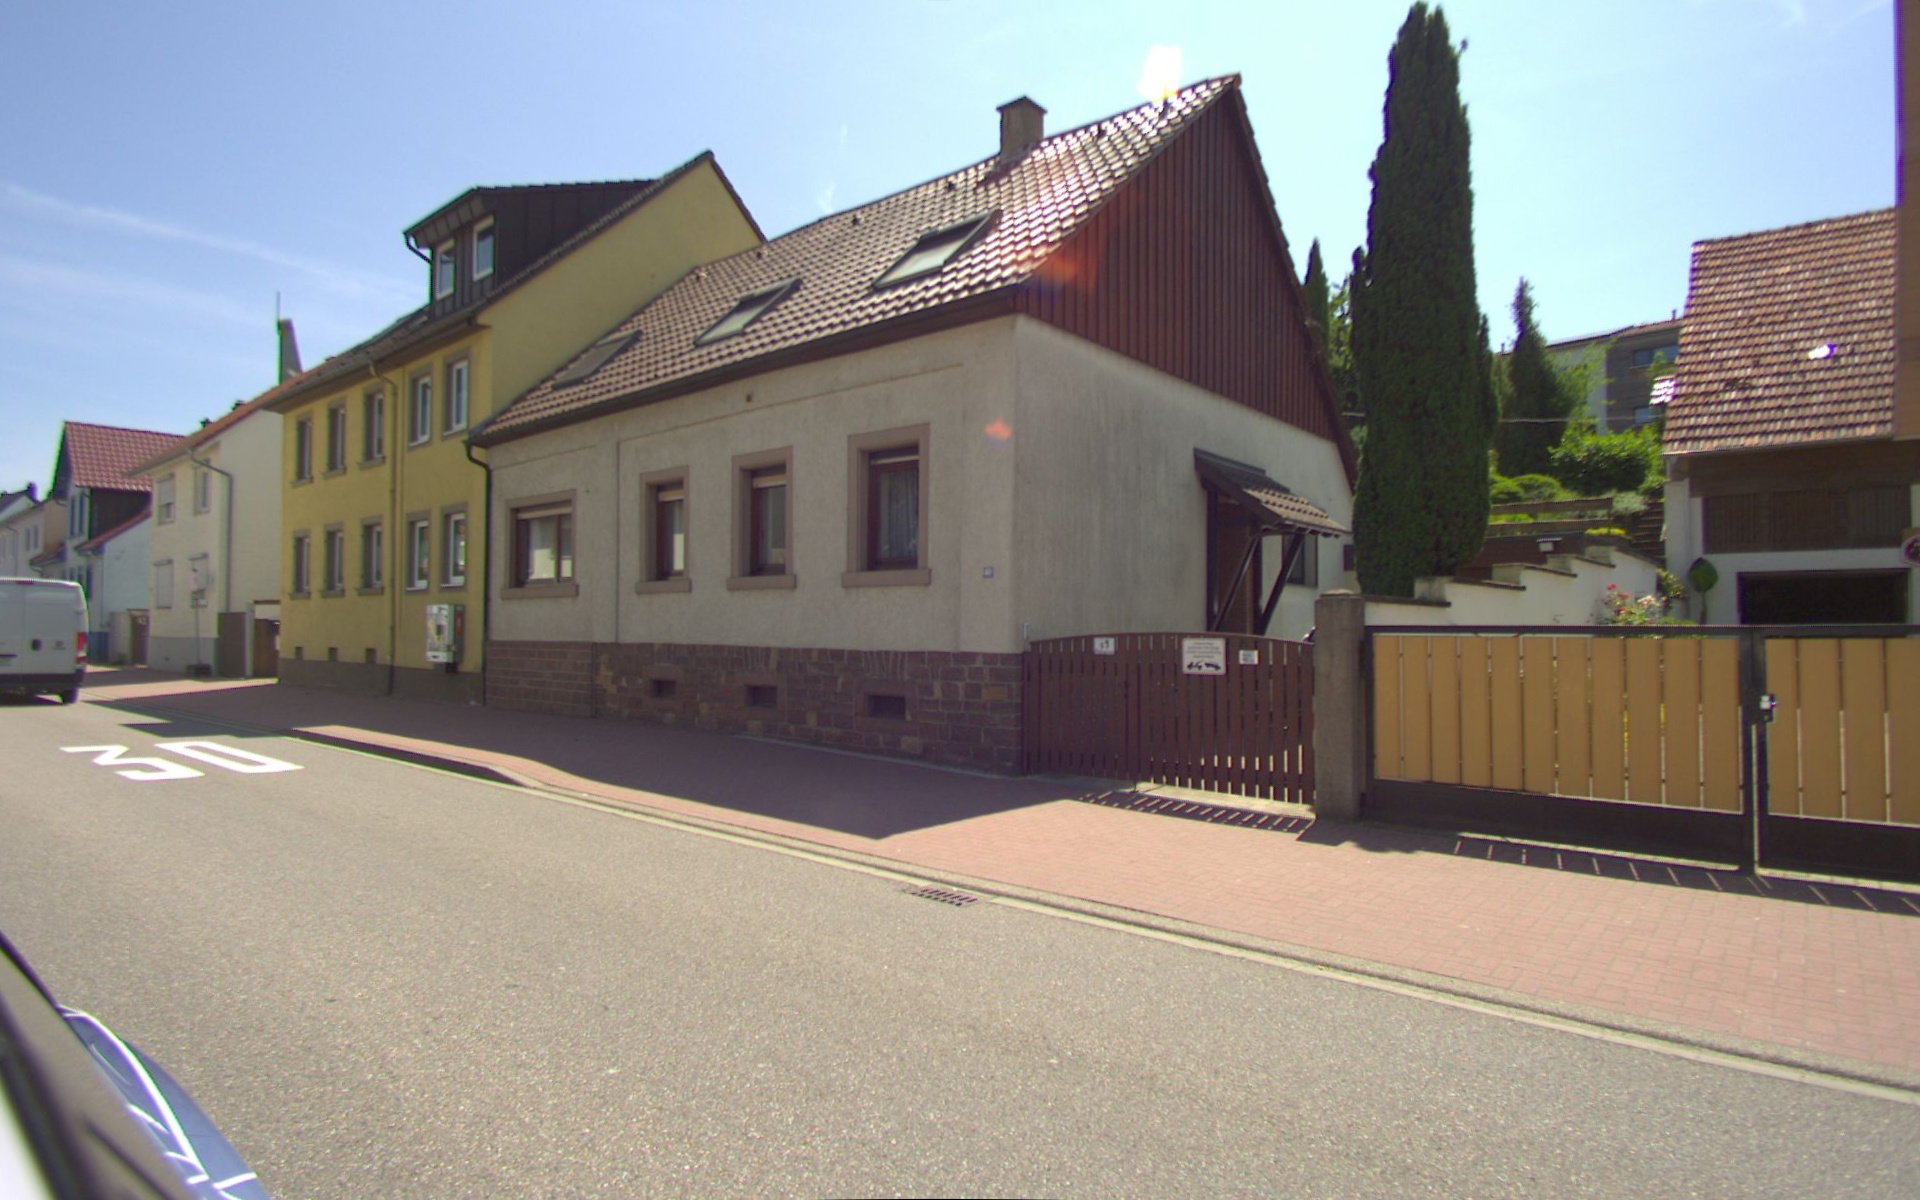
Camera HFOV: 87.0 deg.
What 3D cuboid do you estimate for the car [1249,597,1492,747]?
[{"bbox_3d":[5.465,0.838,13.180,1.678,1.632,4.129,-2,-2,41],"label":"car"}]

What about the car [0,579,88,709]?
[{"bbox_3d":[-20.451,0.912,21.389,6.002,2.474,2.048,-1,-3,40],"label":"car"}]
